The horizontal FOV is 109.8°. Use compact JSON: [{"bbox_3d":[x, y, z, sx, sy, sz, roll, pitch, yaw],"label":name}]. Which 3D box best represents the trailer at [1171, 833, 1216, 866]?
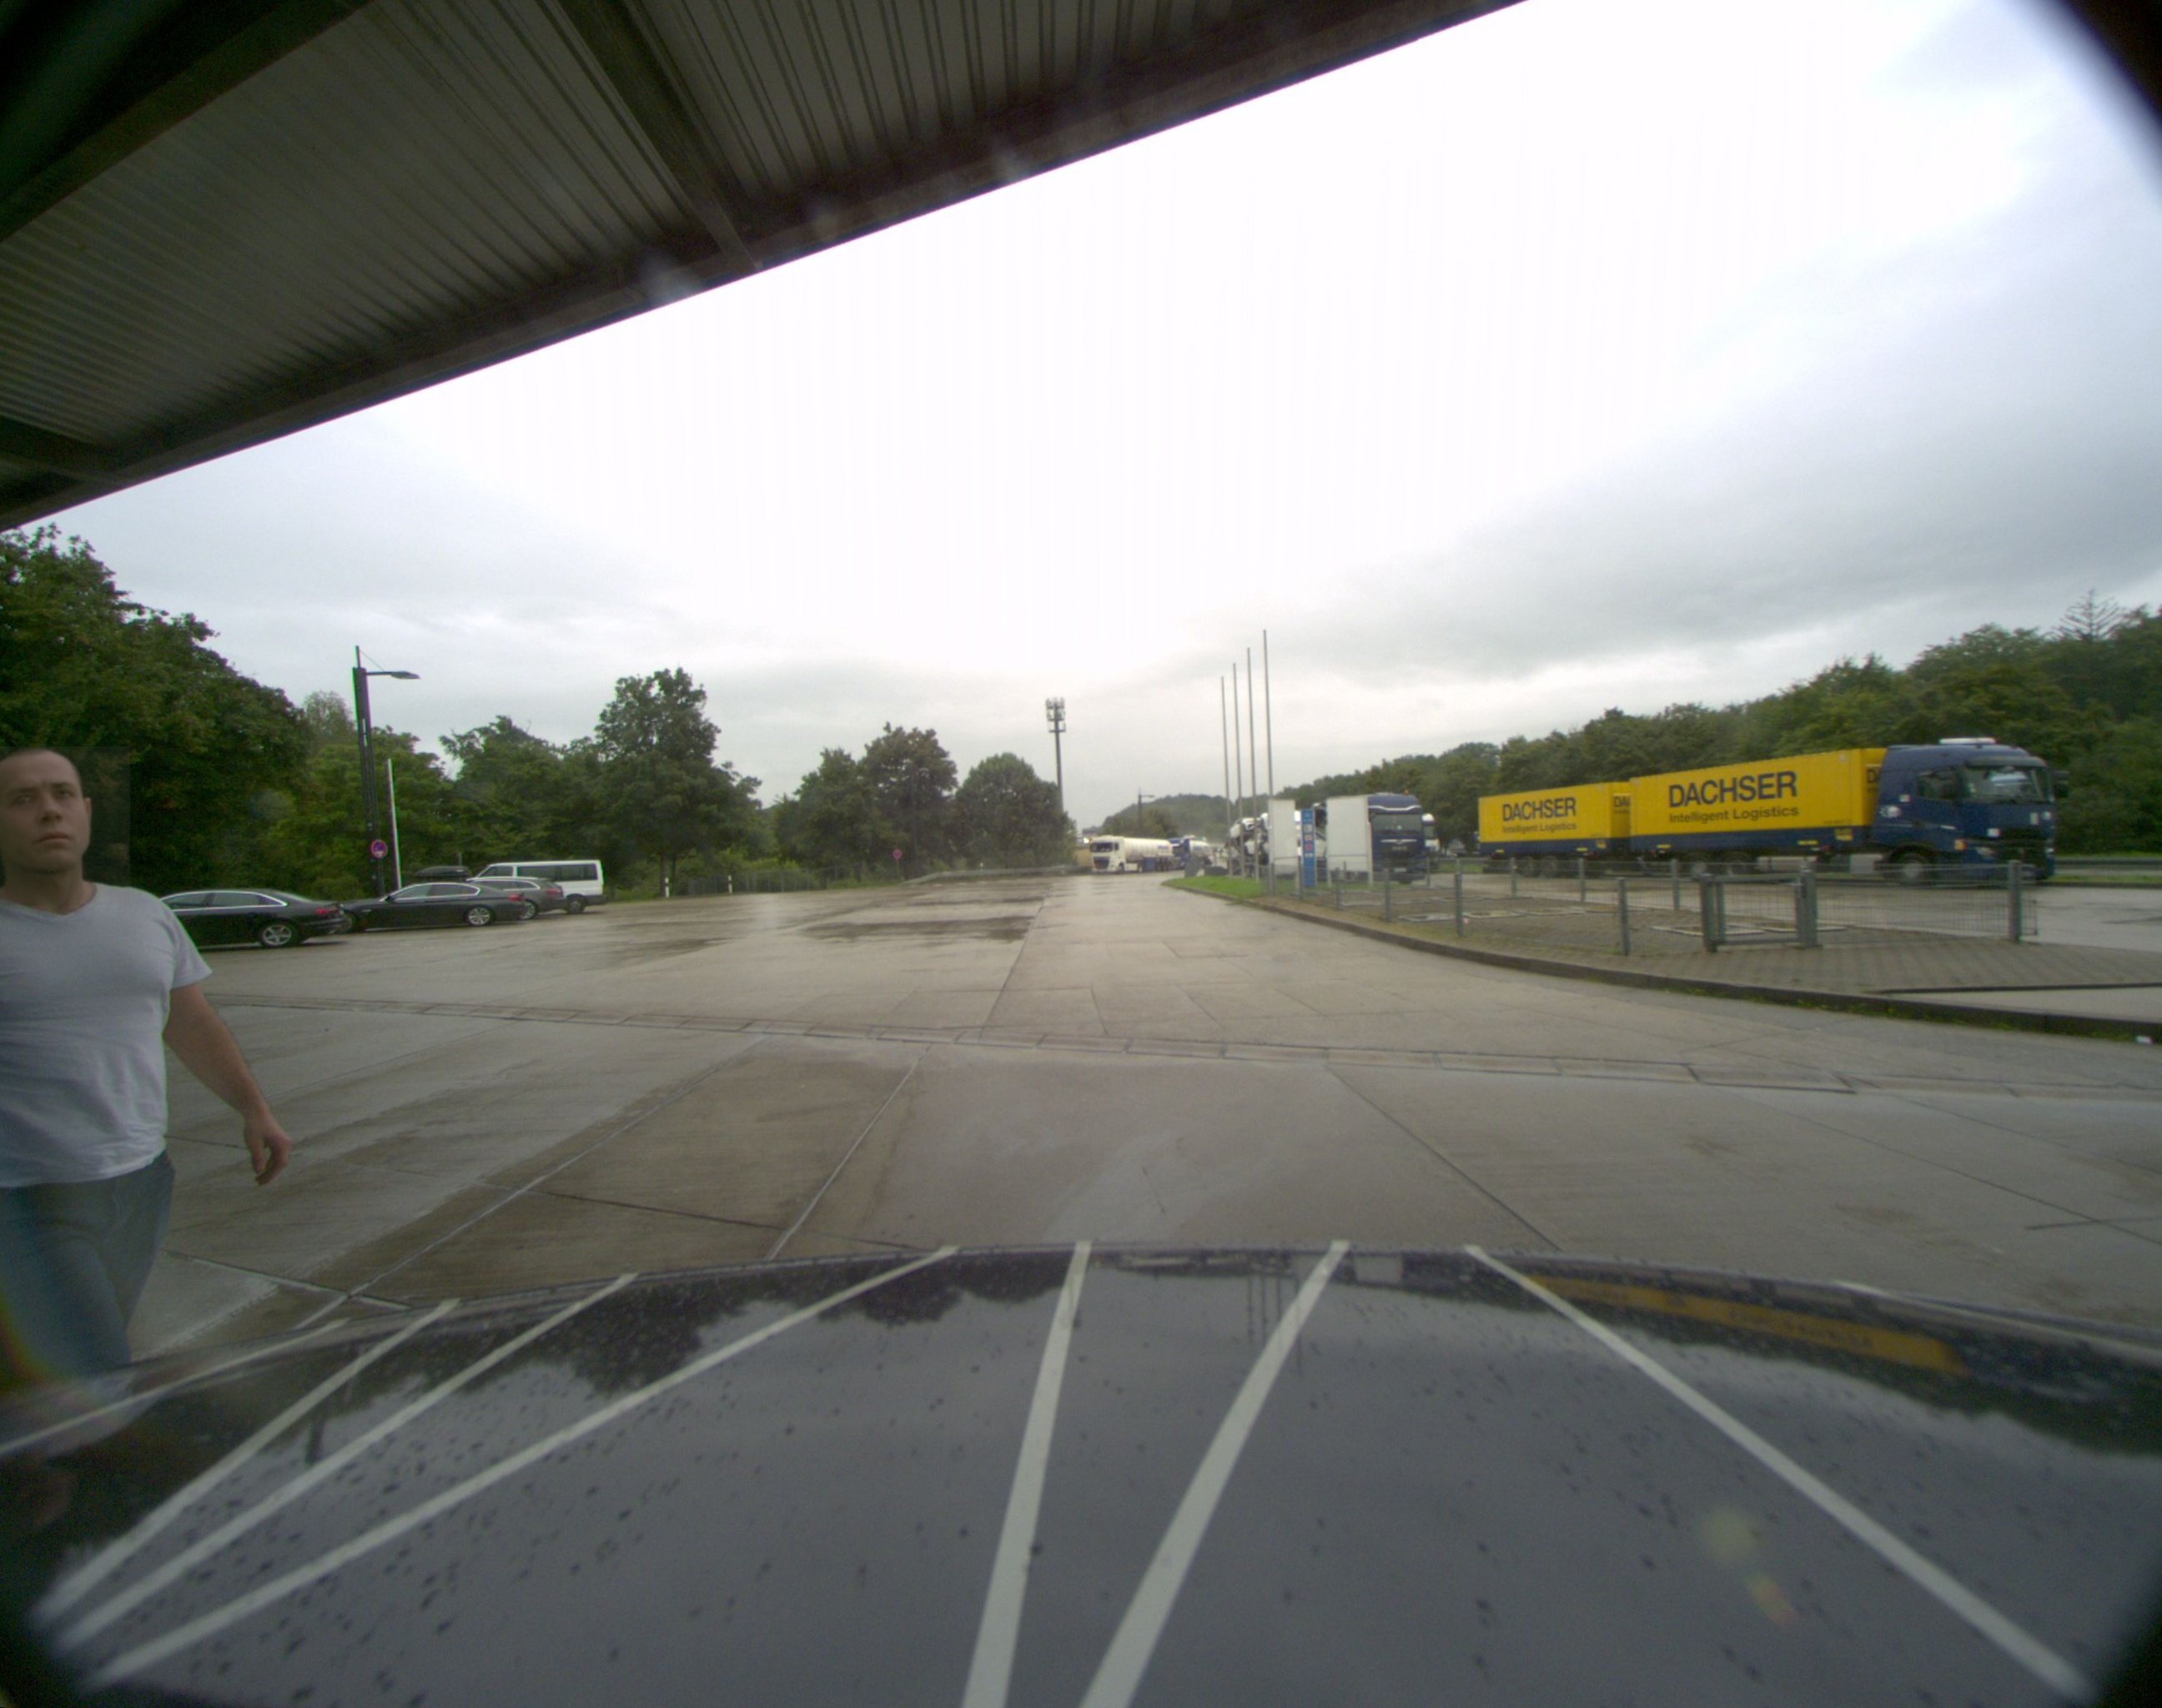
[{"bbox_3d":[13.667,-0.653,91.460,2.898,3.618,10.586,-2,1,22],"label":"trailer"}]

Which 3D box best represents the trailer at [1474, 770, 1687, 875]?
[{"bbox_3d":[21.780,-1.272,34.010,2.774,4.009,8.853,-2,1,-8],"label":"trailer"}]

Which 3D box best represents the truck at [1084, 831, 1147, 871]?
[{"bbox_3d":[3.314,-0.356,71.457,3.243,3.544,6.114,-2,1,31],"label":"truck"}]

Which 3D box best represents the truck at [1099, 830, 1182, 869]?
[{"bbox_3d":[6.198,-0.523,76.368,3.243,3.544,11.995,-2,1,31],"label":"truck"}]

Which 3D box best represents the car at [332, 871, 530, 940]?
[{"bbox_3d":[-19.126,1.451,22.661,4.187,1.720,1.995,-2,0,-33],"label":"car"}]

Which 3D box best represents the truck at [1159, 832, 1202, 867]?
[{"bbox_3d":[11.326,-0.525,85.752,3.045,3.745,6.475,-2,1,23],"label":"truck"}]

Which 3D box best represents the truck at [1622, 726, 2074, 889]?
[{"bbox_3d":[23.057,-1.210,24.327,2.774,4.009,10.632,-2,1,-8],"label":"truck"}]

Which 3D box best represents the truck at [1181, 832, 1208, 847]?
[{"bbox_3d":[30.312,-3.804,204.230,3.251,3.543,14.657,-2,0,-7],"label":"truck"}]

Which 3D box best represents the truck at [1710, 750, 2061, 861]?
[{"bbox_3d":[33.770,-1.816,32.950,2.991,4.009,10.464,-2,1,-10],"label":"truck"}]

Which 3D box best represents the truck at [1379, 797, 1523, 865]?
[{"bbox_3d":[24.358,-1.401,50.974,2.991,4.009,10.464,-2,1,-10],"label":"truck"}]

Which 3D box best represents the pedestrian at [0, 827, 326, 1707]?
[{"bbox_3d":[-2.099,0.857,1.470,0.493,1.800,0.634,-2,2,10],"label":"pedestrian"}]

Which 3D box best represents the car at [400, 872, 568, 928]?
[{"bbox_3d":[-19.658,1.454,25.302,4.187,1.547,1.995,-2,0,-33],"label":"car"}]

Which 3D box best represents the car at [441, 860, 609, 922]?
[{"bbox_3d":[-20.267,1.283,27.933,4.780,1.974,2.010,-2,0,-36],"label":"car"}]

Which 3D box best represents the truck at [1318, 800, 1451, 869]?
[{"bbox_3d":[19.755,-1.218,50.450,2.991,4.009,10.464,-2,1,-10],"label":"truck"}]

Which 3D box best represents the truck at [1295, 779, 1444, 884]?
[{"bbox_3d":[12.299,-0.920,33.266,2.990,4.009,7.259,-2,1,-7],"label":"truck"}]

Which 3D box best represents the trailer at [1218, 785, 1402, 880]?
[{"bbox_3d":[11.371,-0.997,40.957,2.990,4.009,16.597,-2,1,-7],"label":"trailer"}]
